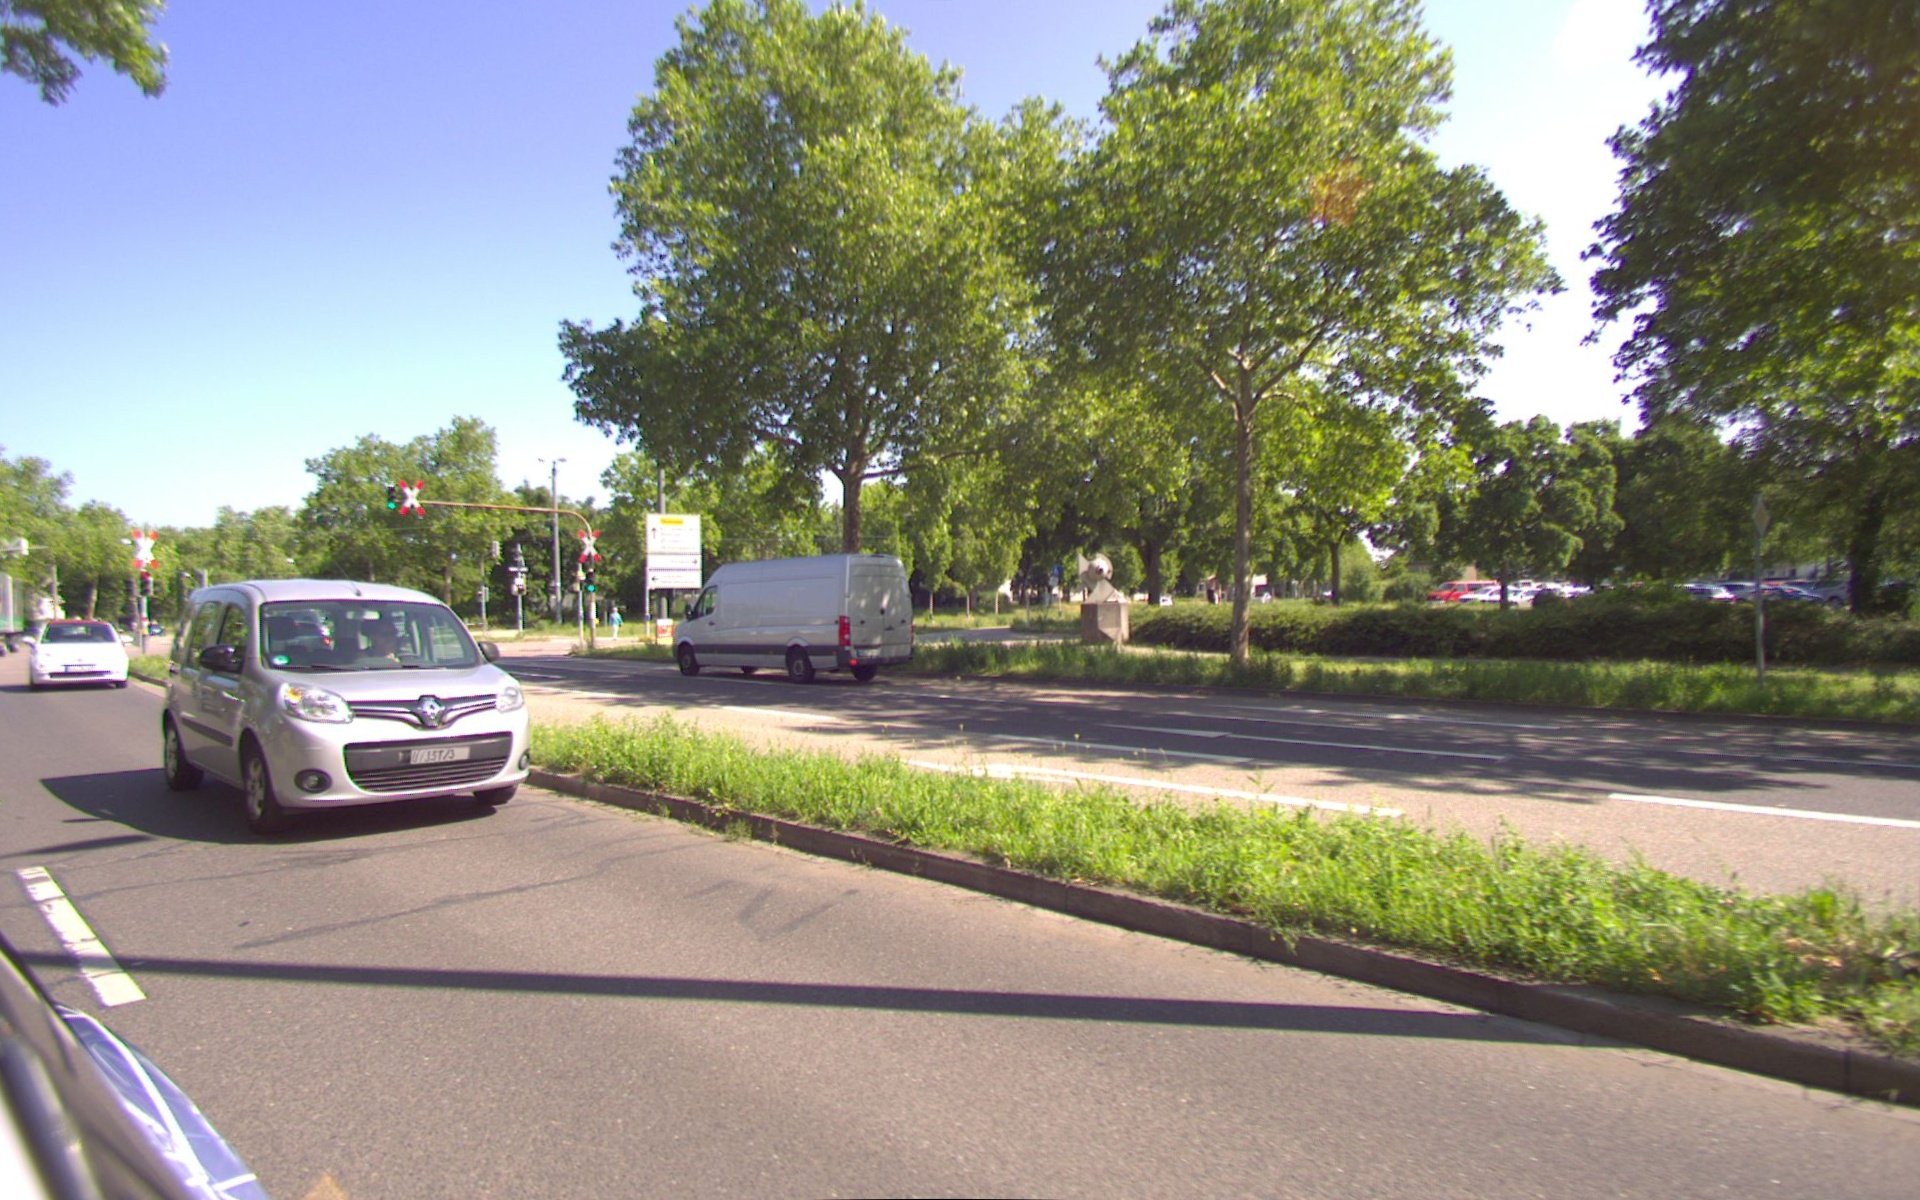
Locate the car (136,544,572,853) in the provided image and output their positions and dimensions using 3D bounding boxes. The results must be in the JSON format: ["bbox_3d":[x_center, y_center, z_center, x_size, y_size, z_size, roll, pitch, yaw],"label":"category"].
[{"bbox_3d":[-5.106,0.660,8.260,4.374,1.854,1.852,-2,-3,42],"label":"car"}]

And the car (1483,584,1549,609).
[{"bbox_3d":[33.666,-0.203,61.302,3.286,1.457,1.452,-1,0,-11],"label":"car"}]

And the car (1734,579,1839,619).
[{"bbox_3d":[44.391,-0.050,54.464,1.787,2.029,4.012,-1,0,-17],"label":"car"}]

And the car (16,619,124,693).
[{"bbox_3d":[-19.969,1.178,22.659,1.665,1.502,4.380,1,-1,-43],"label":"car"}]

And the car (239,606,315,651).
[{"bbox_3d":[-29.908,1.252,44.257,4.993,1.853,1.667,-2,-2,42],"label":"car"}]

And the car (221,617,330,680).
[{"bbox_3d":[-18.532,1.260,27.314,4.131,1.519,1.675,-2,0,45],"label":"car"}]

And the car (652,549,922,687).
[{"bbox_3d":[-4.071,0.394,22.480,7.219,2.633,2.037,-1,-1,44],"label":"car"}]

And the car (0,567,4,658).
[{"bbox_3d":[-42.014,0.522,42.087,2.859,3.950,7.152,-1,-1,-40],"label":"car"}]

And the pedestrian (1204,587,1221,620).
[{"bbox_3d":[15.821,0.205,63.398,0.784,2.029,0.712,-1,-1,-45],"label":"pedestrian"}]

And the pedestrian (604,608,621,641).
[{"bbox_3d":[-16.661,1.167,48.472,0.658,1.573,0.367,-1,0,-38],"label":"pedestrian"}]

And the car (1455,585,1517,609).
[{"bbox_3d":[33.233,-0.201,63.976,3.286,1.457,1.352,-1,0,-11],"label":"car"}]

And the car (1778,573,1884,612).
[{"bbox_3d":[47.651,-0.377,55.482,1.787,2.029,4.012,-1,0,-17],"label":"car"}]

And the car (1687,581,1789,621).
[{"bbox_3d":[41.594,0.086,54.215,1.787,2.029,4.012,-1,0,-17],"label":"car"}]

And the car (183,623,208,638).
[{"bbox_3d":[-111.455,4.391,147.574,1.965,2.029,4.013,-1,0,-24],"label":"car"}]

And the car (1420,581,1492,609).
[{"bbox_3d":[32.887,-0.333,67.098,3.922,1.715,1.819,-1,0,-11],"label":"car"}]
